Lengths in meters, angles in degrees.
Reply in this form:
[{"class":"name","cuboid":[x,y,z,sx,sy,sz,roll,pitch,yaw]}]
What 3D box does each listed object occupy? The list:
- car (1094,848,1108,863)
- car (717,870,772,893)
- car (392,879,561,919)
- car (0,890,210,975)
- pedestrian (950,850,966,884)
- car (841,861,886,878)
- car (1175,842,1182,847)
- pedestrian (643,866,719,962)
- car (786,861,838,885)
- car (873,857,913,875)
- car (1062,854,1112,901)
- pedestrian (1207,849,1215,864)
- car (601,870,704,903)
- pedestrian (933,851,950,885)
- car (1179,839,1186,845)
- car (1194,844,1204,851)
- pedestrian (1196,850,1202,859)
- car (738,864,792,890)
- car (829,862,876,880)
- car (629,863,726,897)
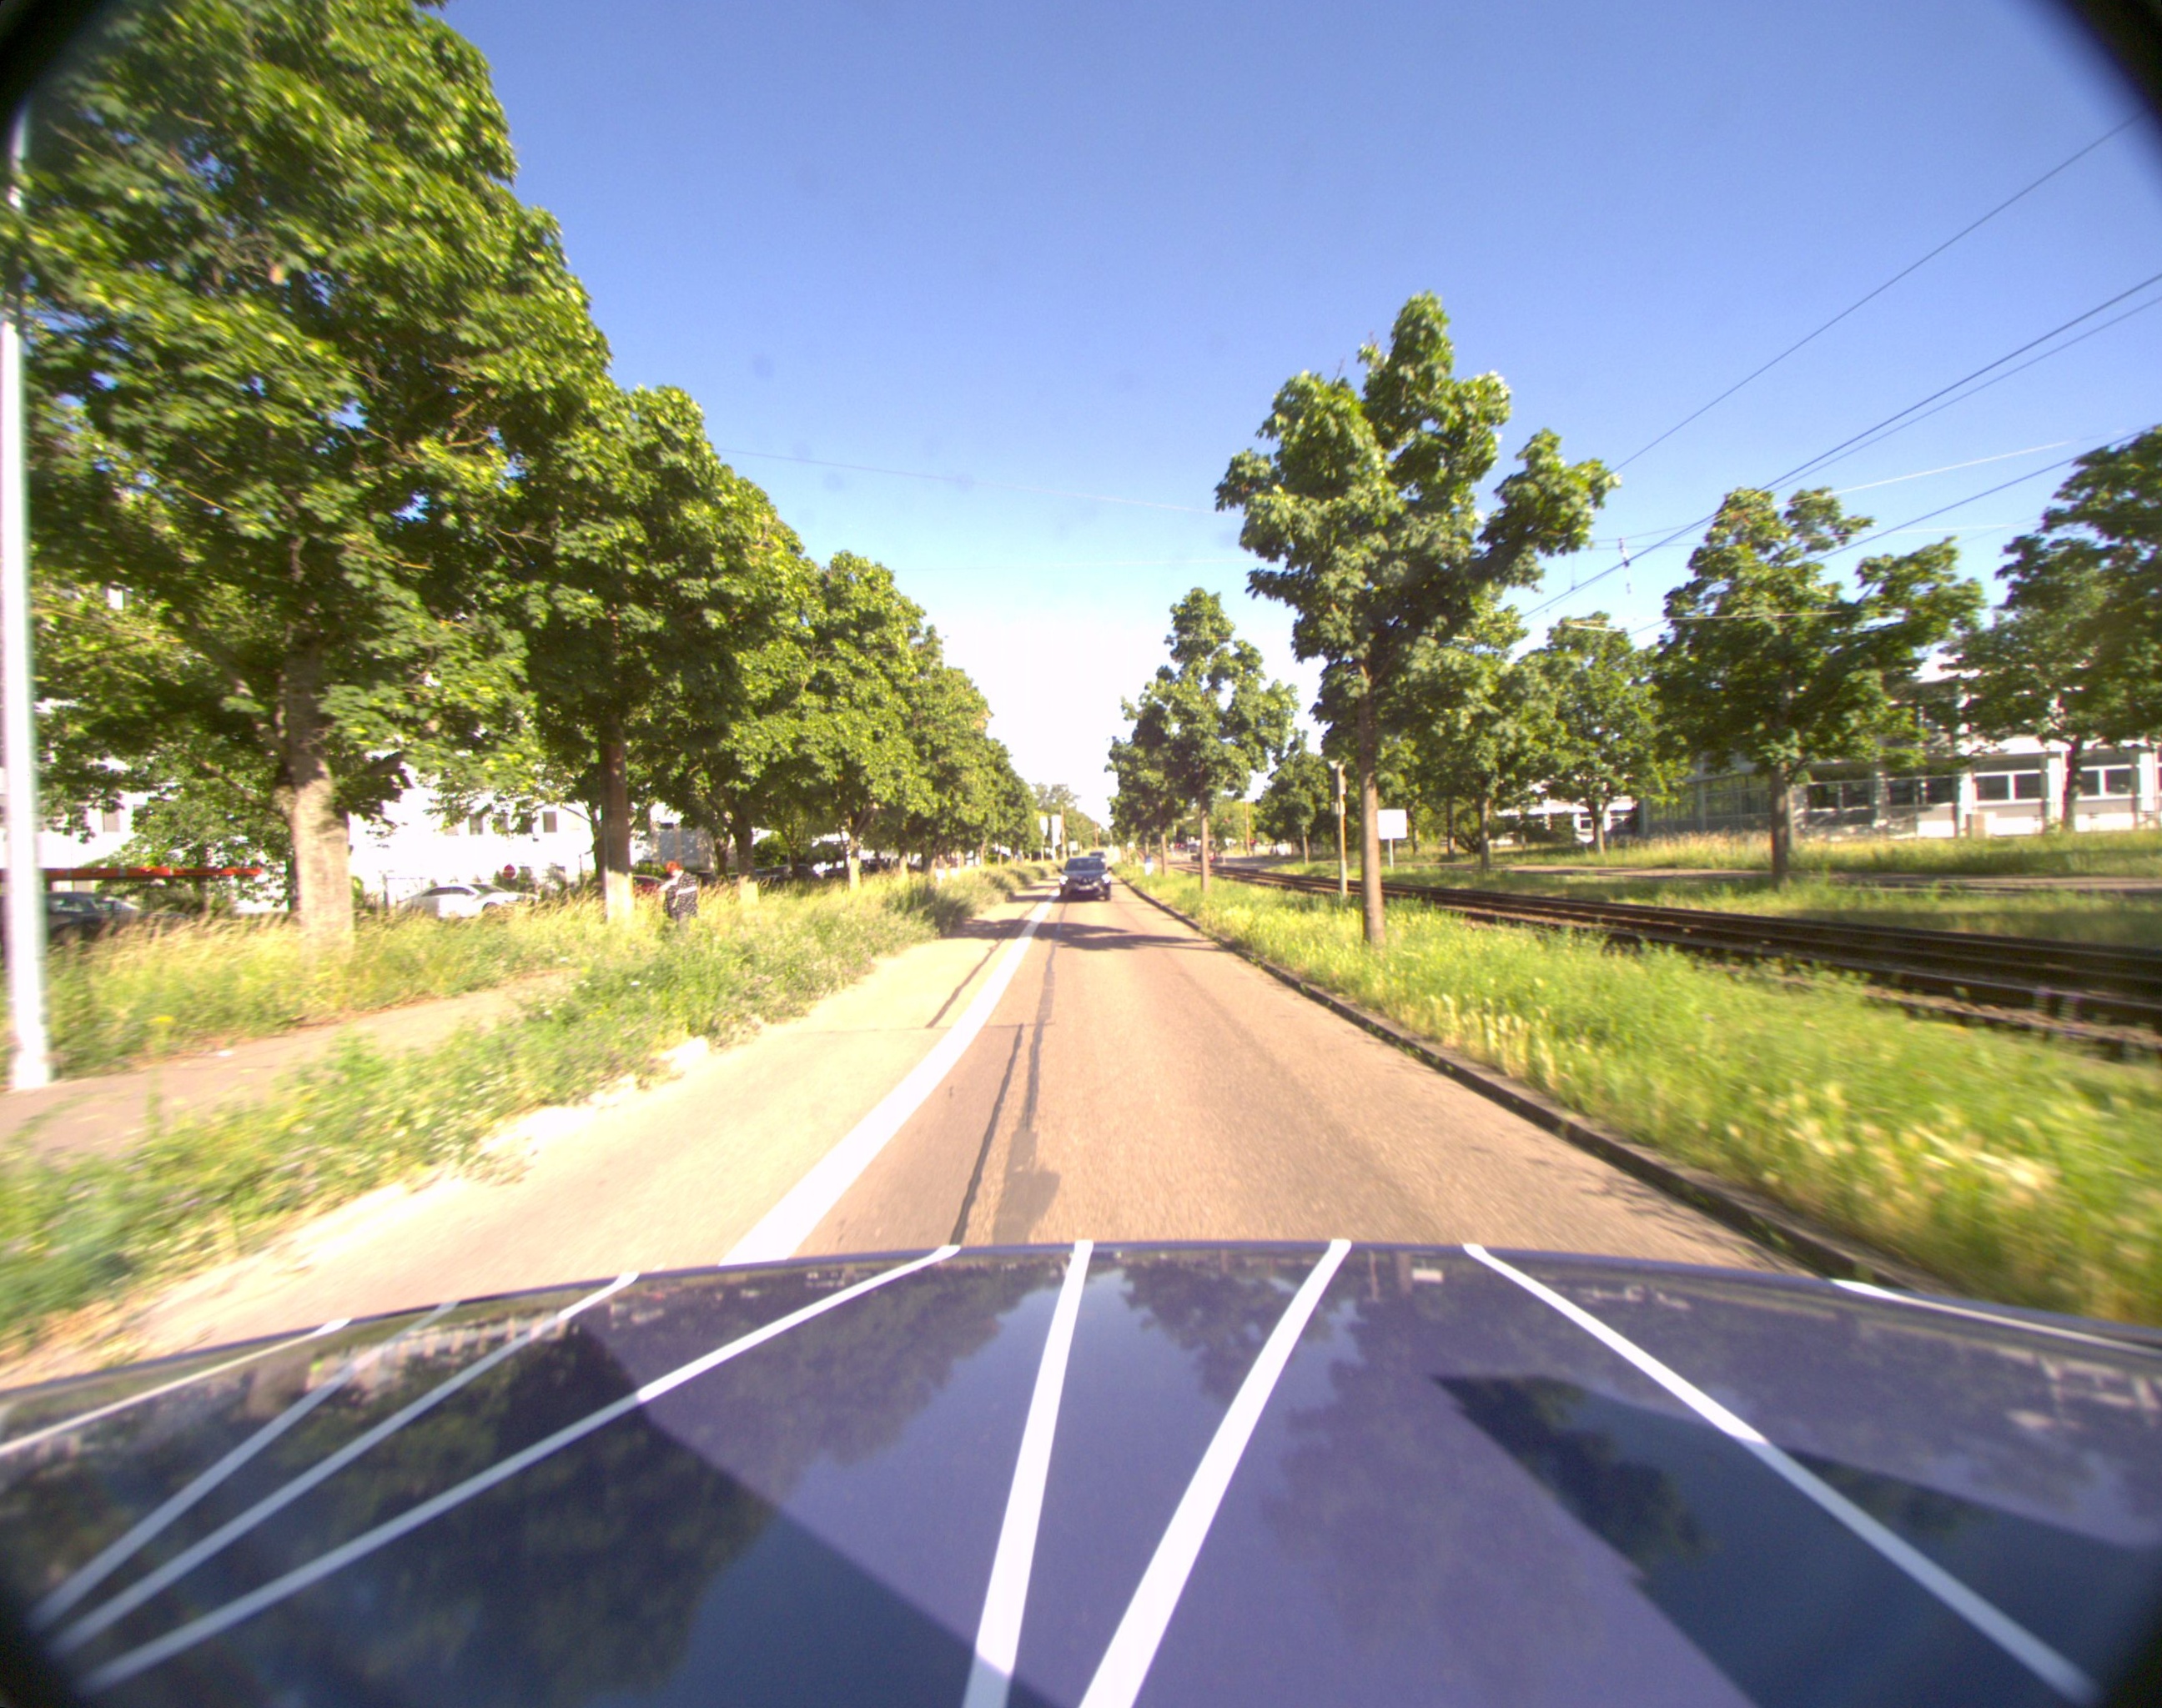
[{"class":"car","cuboid":[2.344,0.199,90.758,1.555,1.764,3.456,-2,0,0]},{"class":"car","cuboid":[-21.712,1.755,48.948,3.976,1.333,1.712,-3,0,43]},{"class":"car","cuboid":[-22.308,1.659,28.184,4.710,1.263,1.807,-2,-1,-2]},{"class":"car","cuboid":[-22.652,1.734,16.784,4.404,1.587,1.883,-2,0,-3]},{"class":"pedestrian","cuboid":[-7.099,0.742,43.811,0.709,1.906,0.816,-3,1,1]},{"class":"car","cuboid":[-21.716,1.540,75.866,4.537,1.440,1.851,-3,0,36]},{"class":"car","cuboid":[31.258,-3.072,242.964,1.701,1.575,3.456,-2,0,0]},{"class":"pedestrian","cuboid":[-6.903,1.020,13.155,0.826,1.560,0.762,-3,1,1]},{"class":"car","cuboid":[-21.708,1.572,61.212,1.922,1.741,5.442,-3,0,-42]},{"class":"car","cuboid":[-21.659,1.364,87.295,2.084,1.865,5.173,-3,0,-44]},{"class":"car","cuboid":[0.235,0.833,28.818,1.750,1.585,4.246,0,1,0]},{"class":"pedestrian","cuboid":[15.423,0.311,90.171,0.786,1.741,0.781,-3,1,1]},{"class":"car","cuboid":[-22.197,1.662,39.512,4.244,1.527,1.765,-2,0,-9]},{"class":"pedestrian","cuboid":[-8.013,0.786,43.777,0.709,1.919,0.817,-3,1,3]},{"class":"car","cuboid":[29.580,-3.595,221.587,1.701,1.575,3.456,-2,0,0]},{"class":"car","cuboid":[28.559,-1.548,184.297,1.771,1.575,3.456,-2,0,0]},{"class":"pedestrian","cuboid":[16.337,0.119,104.809,0.650,1.241,0.681,0,0,-7]},{"class":"car","cuboid":[-21.810,1.604,52.446,3.976,1.629,1.727,-3,1,40]},{"class":"car","cuboid":[-21.689,1.598,72.117,4.537,1.506,1.851,-3,0,36]},{"class":"car","cuboid":[-22.159,1.407,41.901,4.349,1.690,1.765,-2,0,-9]}]
